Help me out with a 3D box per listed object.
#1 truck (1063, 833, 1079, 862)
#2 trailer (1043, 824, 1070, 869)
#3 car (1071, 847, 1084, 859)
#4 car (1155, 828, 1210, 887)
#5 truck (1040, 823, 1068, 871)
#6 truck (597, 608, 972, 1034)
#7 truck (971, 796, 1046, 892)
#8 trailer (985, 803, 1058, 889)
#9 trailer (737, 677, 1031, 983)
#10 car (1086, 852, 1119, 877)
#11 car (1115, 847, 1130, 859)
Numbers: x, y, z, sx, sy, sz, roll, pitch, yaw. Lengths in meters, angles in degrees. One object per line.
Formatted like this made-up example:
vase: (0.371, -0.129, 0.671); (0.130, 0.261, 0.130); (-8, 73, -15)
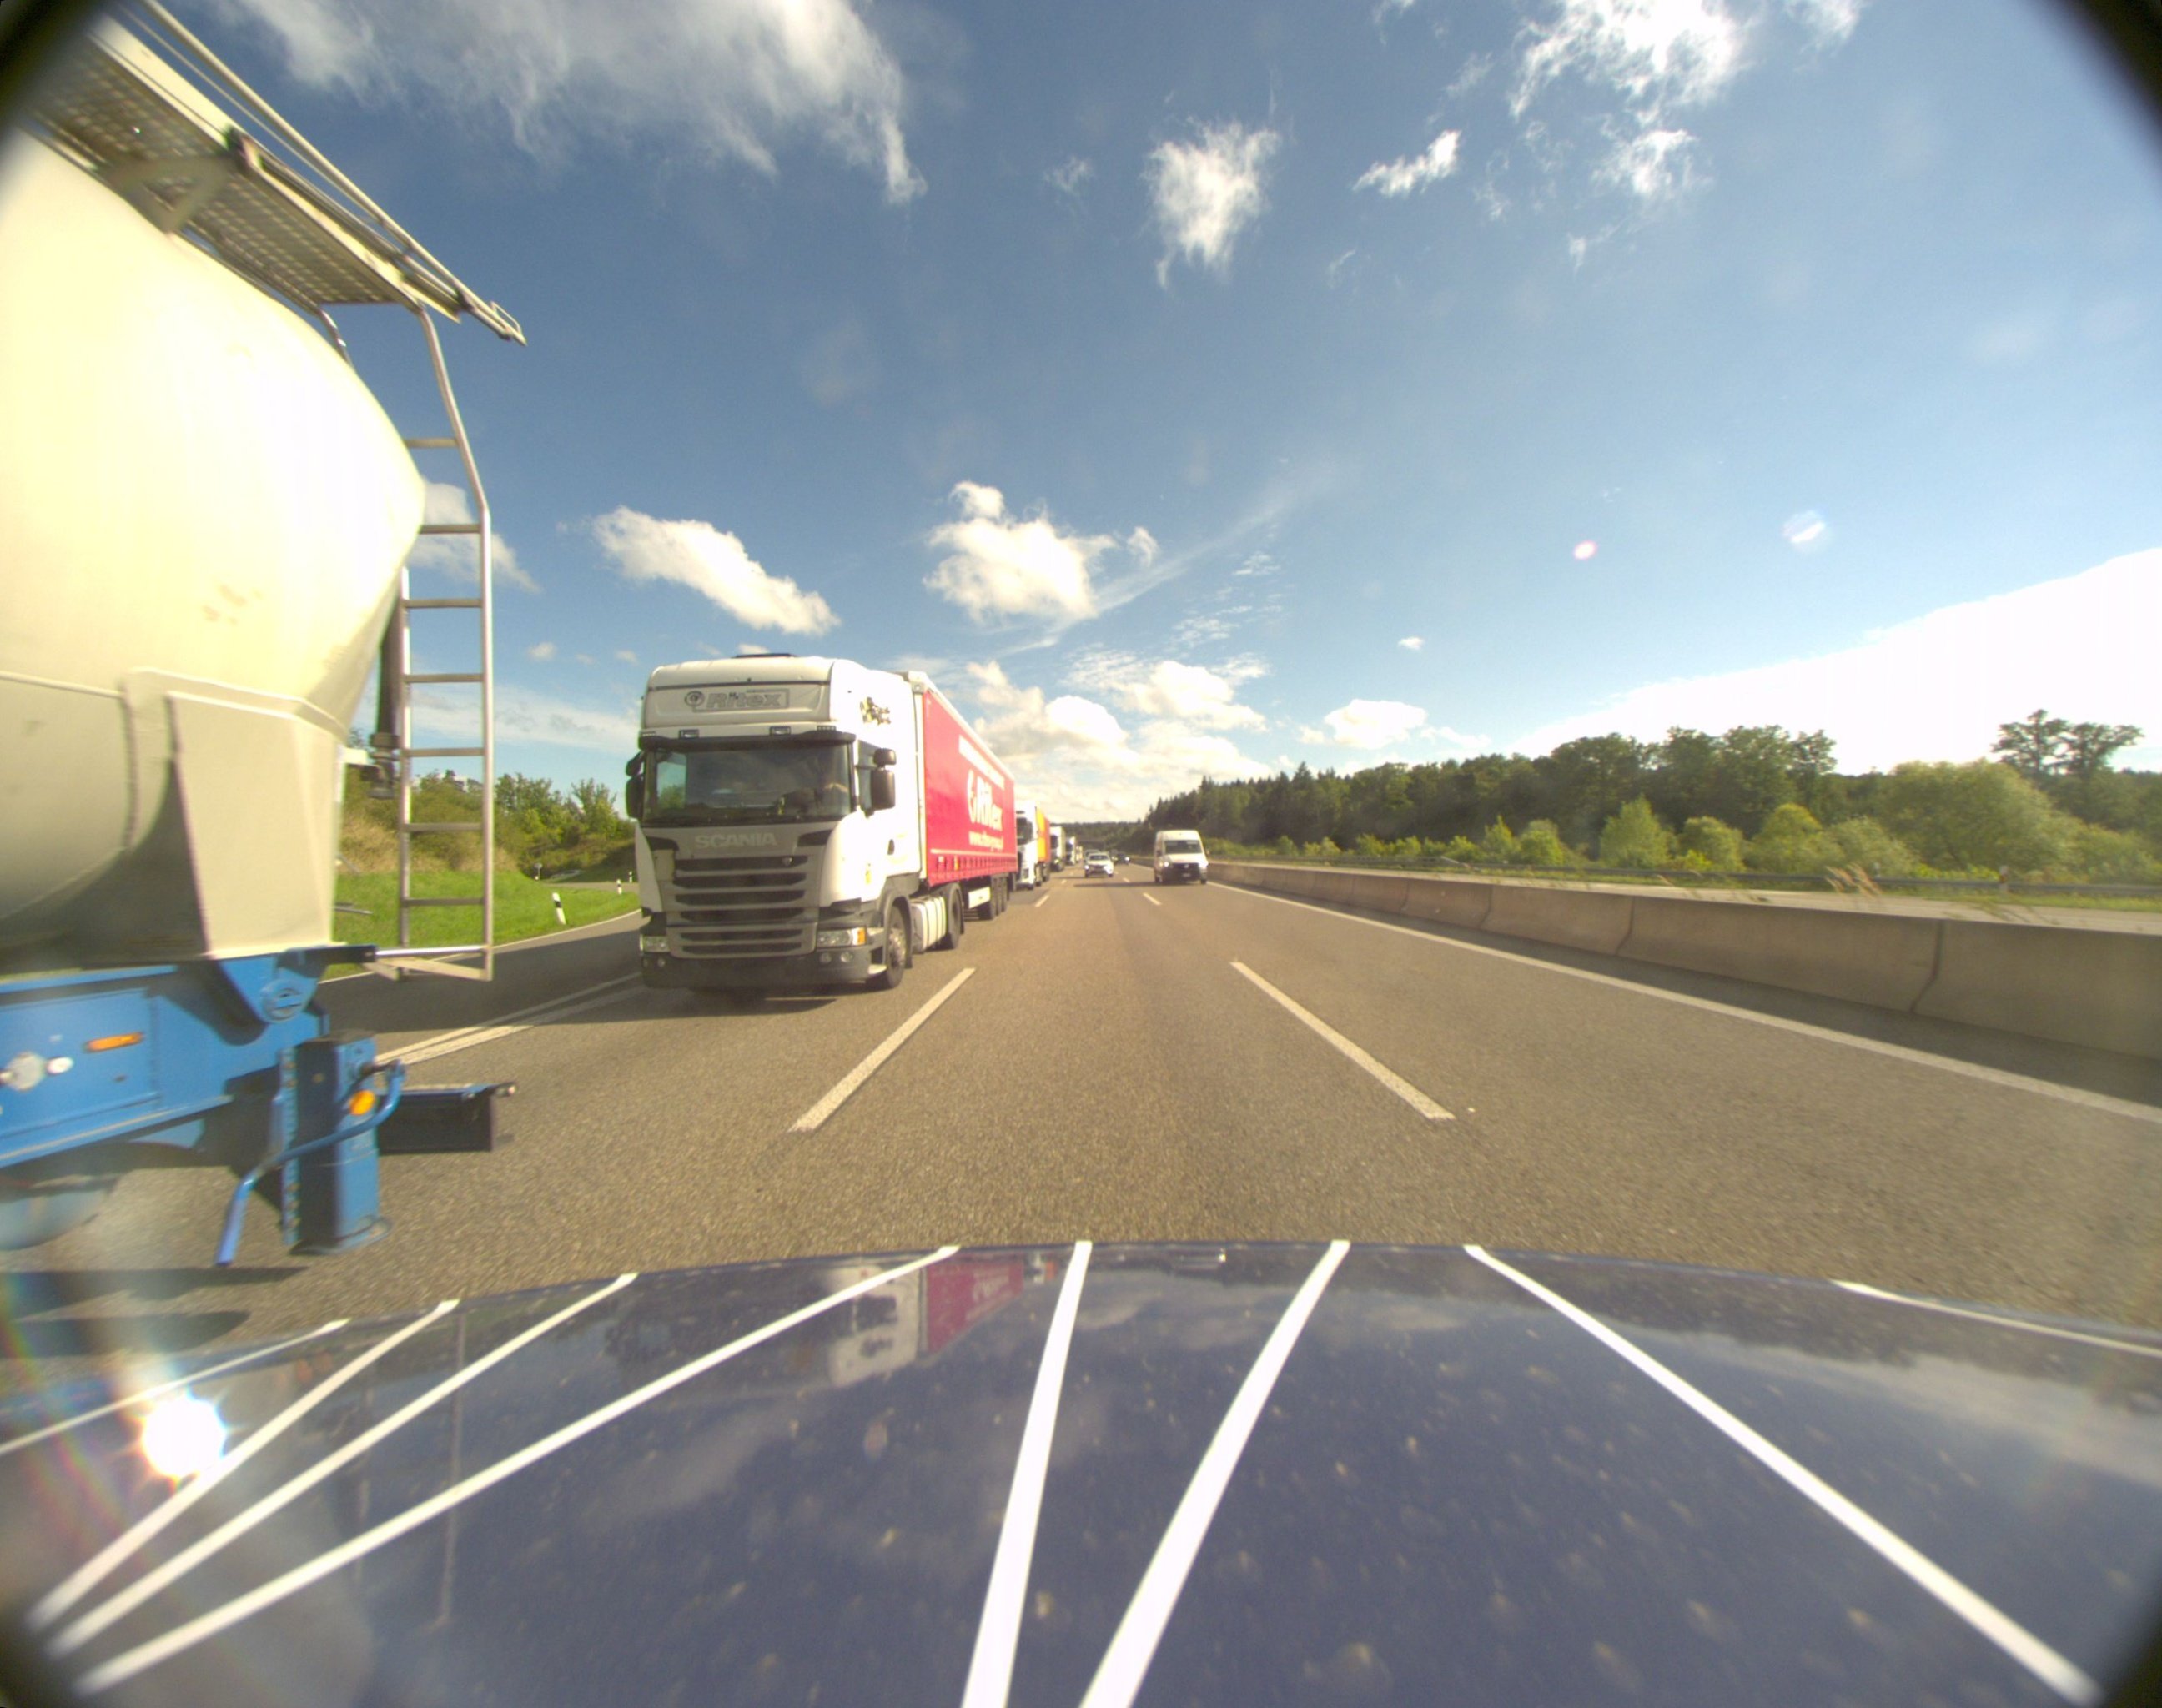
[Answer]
truck: (-1.371, -1.004, 110.134); (1.998, 3.999, 7.344); (-2, 1, 1)
trailer: (-2.283, -0.710, 72.825); (1.998, 3.999, 7.344); (-2, 1, 1)
car: (-0.680, -0.216, 140.360); (2.129, 2.030, 4.697); (1, 0, 3)
car: (4.814, 0.126, 36.846); (2.020, 2.584, 6.182); (-2, 1, 3)
truck: (-2.380, -0.659, 67.847); (1.998, 4.025, 5.869); (-2, 1, 1)
truck: (-3.272, -0.318, 10.308); (2.370, 3.997, 6.106); (-2, 1, 2)
truck: (-3.202, -0.418, 35.157); (2.634, 3.959, 5.956); (-2, 0, 1)
trailer: (-3.035, -0.446, 42.618); (2.624, 3.977, 13.365); (-2, 0, 1)
trailer: (-3.066, -0.388, 17.195); (2.334, 3.974, 14.299); (-2, 1, 2)
car: (1.436, 0.617, 49.377); (2.026, 1.511, 5.299); (1, 0, 3)
car: (5.361, -0.165, 98.744); (1.778, 1.533, 4.158); (1, 1, 2)
